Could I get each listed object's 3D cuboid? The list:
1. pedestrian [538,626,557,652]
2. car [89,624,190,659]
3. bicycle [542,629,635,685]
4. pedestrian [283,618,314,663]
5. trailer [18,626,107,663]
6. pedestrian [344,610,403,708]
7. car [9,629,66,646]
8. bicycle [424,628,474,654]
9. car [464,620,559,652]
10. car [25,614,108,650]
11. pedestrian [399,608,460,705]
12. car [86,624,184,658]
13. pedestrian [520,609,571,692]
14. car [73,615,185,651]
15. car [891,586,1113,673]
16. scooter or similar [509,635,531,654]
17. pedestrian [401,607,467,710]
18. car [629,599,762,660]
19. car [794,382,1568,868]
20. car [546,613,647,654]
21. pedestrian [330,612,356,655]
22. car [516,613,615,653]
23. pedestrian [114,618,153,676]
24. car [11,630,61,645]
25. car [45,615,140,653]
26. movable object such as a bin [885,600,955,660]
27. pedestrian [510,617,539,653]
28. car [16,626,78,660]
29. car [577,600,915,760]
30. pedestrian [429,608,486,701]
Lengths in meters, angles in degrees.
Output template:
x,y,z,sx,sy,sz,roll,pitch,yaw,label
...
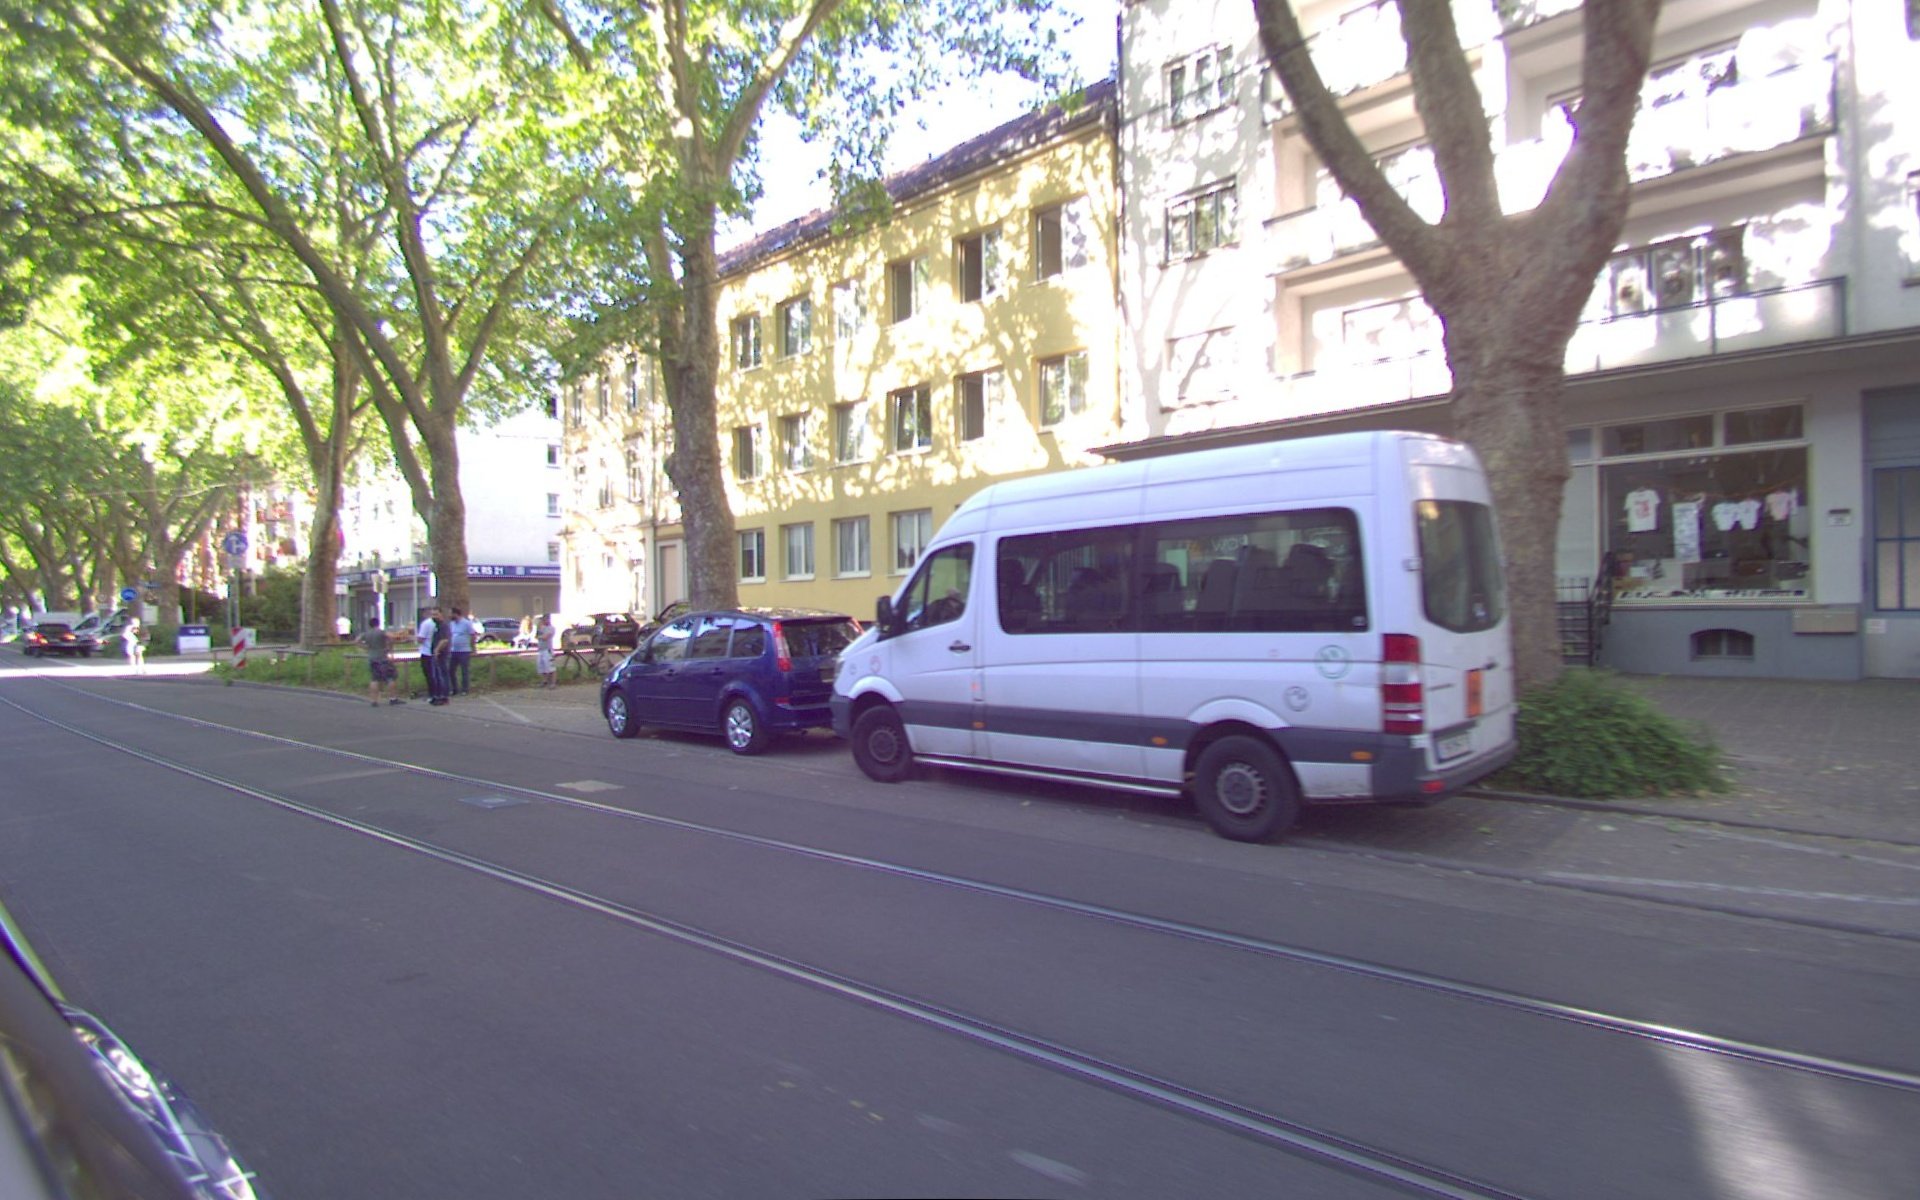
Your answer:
x,y,z,sx,sy,sz,roll,pitch,yaw,label
-17.536,1.658,43.062,0.540,1.048,0.541,-1,0,10,pedestrian
-43.868,2.187,54.154,1.908,1.622,3.945,-1,0,41,car
-7.889,1.188,21.523,1.820,1.088,0.571,-1,0,-20,bicycle
-26.398,1.602,40.397,0.725,1.770,0.739,-1,0,2,pedestrian
-43.396,2.106,48.867,6.582,1.644,2.420,-1,-3,42,trailer
-10.779,1.063,18.612,0.702,1.748,0.772,-1,0,-12,pedestrian
-90.511,3.633,99.332,1.999,1.478,3.945,-1,0,41,car
-22.360,1.787,44.300,0.655,1.070,1.845,-1,0,35,bicycle
-23.303,1.834,52.664,1.835,1.489,4.097,-1,0,43,car
-68.640,2.455,77.755,2.000,2.552,4.598,-1,0,43,car
-9.933,1.042,18.969,0.759,1.748,0.715,-1,0,-5,pedestrian
-45.642,2.226,56.036,1.999,1.657,3.945,-1,0,41,car
-8.382,1.001,20.502,0.759,1.622,0.715,-1,0,-5,pedestrian
-51.134,1.986,62.365,1.998,2.010,5.070,-1,0,38,car
0.830,0.619,22.721,4.899,1.746,1.971,-1,0,44,car
-18.667,1.873,42.905,0.896,0.759,0.522,-1,0,42,scooter or similar
-9.485,1.033,18.246,0.766,1.790,0.708,-1,0,23,pedestrian
-8.460,0.895,32.109,1.971,1.750,4.698,-1,0,-45,car
1.268,0.158,8.306,2.083,2.597,6.028,-1,0,-44,car
-13.355,1.199,37.113,3.998,1.398,1.761,-1,0,41,car
-26.004,1.403,42.641,0.668,1.793,0.715,-1,0,34,pedestrian
-18.861,1.579,48.502,1.800,1.650,3.958,-6,-3,42,car
-26.295,1.490,32.198,0.799,1.805,0.693,-1,0,31,pedestrian
-102.872,4.212,112.724,1.999,1.478,3.945,-1,0,41,car
-58.006,2.204,67.711,2.000,2.323,4.598,-1,0,43,car
-1.052,0.776,26.601,1.343,1.513,1.217,-1,0,42,movable object such as a bin
-18.826,1.500,43.759,1.069,1.490,0.764,-1,0,42,pedestrian
-47.417,2.224,52.530,4.181,1.696,1.902,-1,-3,42,car
-2.736,0.837,12.348,4.283,1.573,1.896,-1,0,43,car
-9.794,1.037,19.727,0.717,1.748,0.760,-1,0,41,pedestrian
